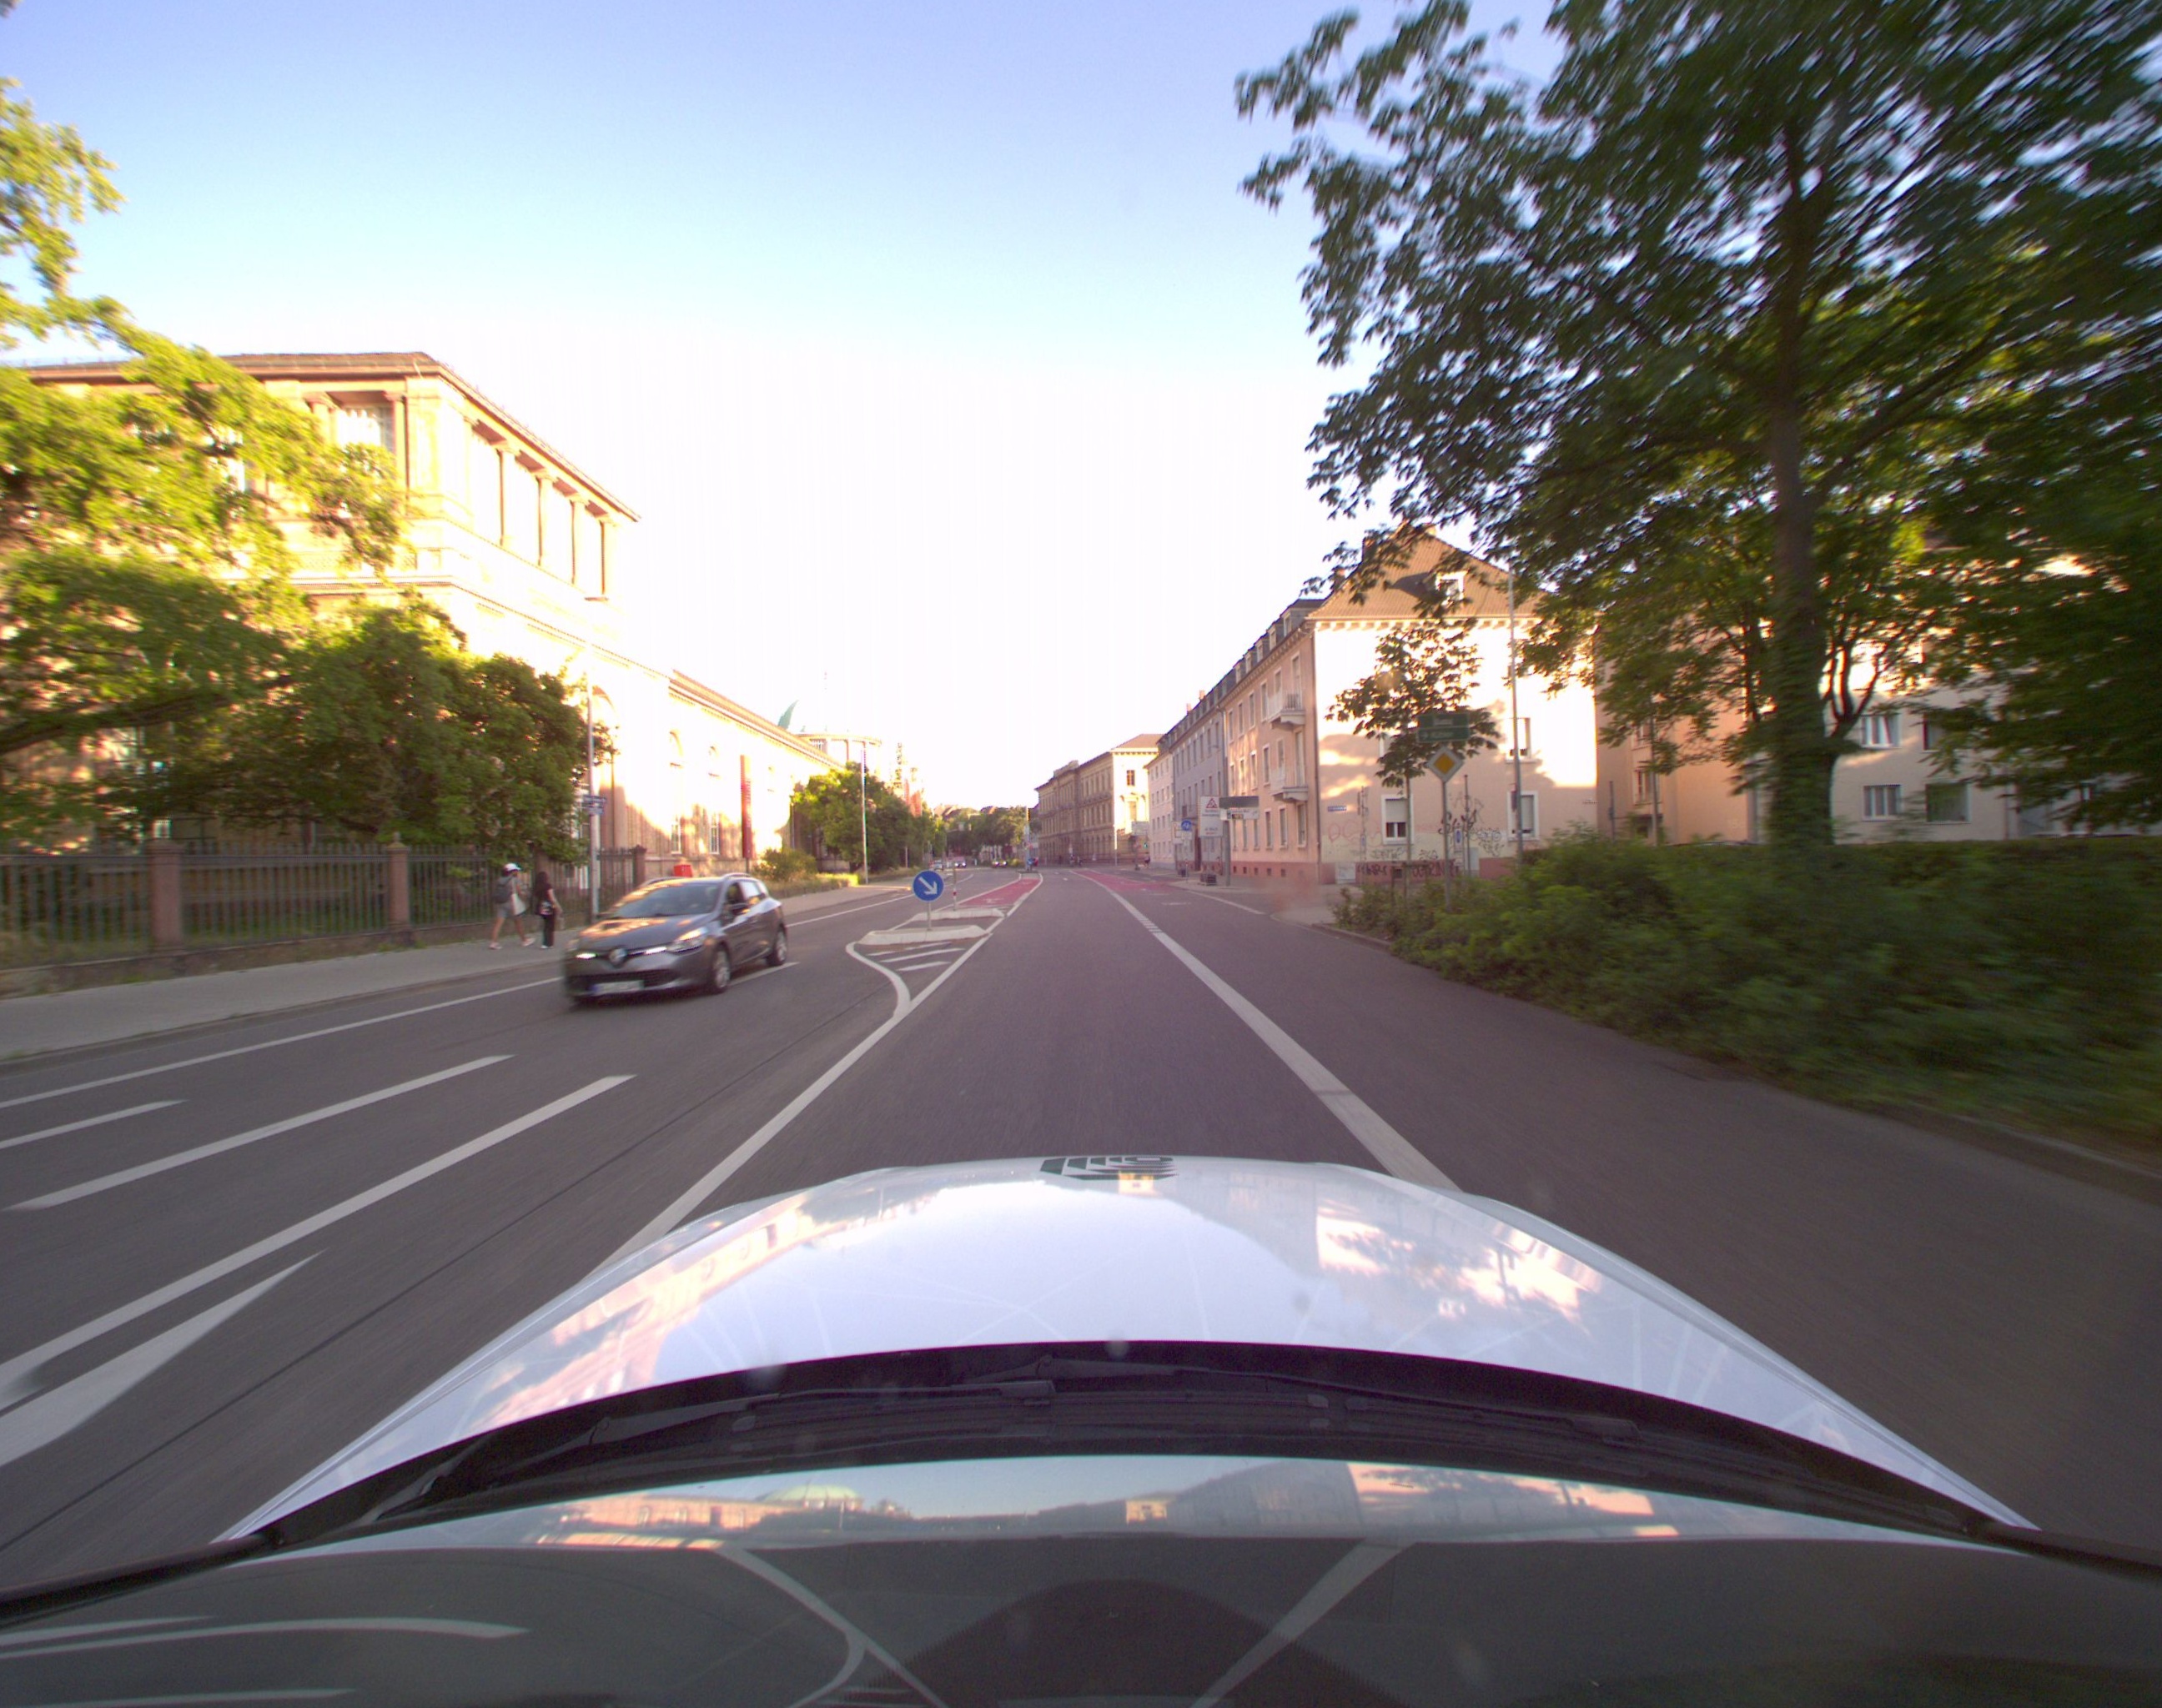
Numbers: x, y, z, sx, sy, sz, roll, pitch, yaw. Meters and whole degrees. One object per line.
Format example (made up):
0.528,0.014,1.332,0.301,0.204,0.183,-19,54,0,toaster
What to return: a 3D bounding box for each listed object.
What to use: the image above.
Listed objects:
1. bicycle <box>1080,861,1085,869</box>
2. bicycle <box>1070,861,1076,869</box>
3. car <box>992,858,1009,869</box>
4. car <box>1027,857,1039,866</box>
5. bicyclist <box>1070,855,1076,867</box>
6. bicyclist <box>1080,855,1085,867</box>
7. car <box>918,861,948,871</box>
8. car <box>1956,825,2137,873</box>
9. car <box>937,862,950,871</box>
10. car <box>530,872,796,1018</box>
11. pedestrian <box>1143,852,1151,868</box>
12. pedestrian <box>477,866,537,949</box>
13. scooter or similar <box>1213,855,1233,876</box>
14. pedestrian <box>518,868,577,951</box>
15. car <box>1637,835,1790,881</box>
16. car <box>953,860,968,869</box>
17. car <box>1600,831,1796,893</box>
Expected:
0.169,1.401,102.658,0.649,1.015,2.198,1,0,1,bicycle
-1.034,1.358,102.639,0.649,1.015,2.198,1,0,1,bicycle
-12.142,1.407,122.340,1.995,1.585,3.982,-1,0,-13,car
-8.224,1.289,139.112,1.866,1.510,3.991,-1,0,-7,car
-1.020,0.871,102.832,0.650,1.446,0.879,1,0,1,bicyclist
0.172,0.872,102.664,0.650,1.475,0.941,1,0,0,bicyclist
-21.963,1.754,120.626,3.948,1.420,2.013,-1,0,31,car
35.890,-0.183,30.388,4.221,1.481,1.873,-3,0,5,car
-26.139,2.421,155.073,1.998,1.585,3.978,-1,0,-16,car
-5.333,1.042,11.063,1.833,1.439,3.991,-3,0,-6,car
7.089,0.652,87.682,0.758,1.755,0.846,-1,0,5,pedestrian
-11.643,1.064,16.528,0.677,1.622,0.690,-2,0,8,pedestrian
9.288,0.714,53.322,0.628,1.337,2.395,-1,0,-5,scooter or similar
-10.848,1.107,16.571,0.677,1.622,0.690,-2,0,7,pedestrian
24.024,0.150,31.051,4.221,1.481,1.873,-3,0,5,car
-21.552,1.867,145.466,1.998,1.585,3.978,-1,0,-16,car
17.944,0.227,23.848,4.223,1.481,1.873,-3,0,3,car
